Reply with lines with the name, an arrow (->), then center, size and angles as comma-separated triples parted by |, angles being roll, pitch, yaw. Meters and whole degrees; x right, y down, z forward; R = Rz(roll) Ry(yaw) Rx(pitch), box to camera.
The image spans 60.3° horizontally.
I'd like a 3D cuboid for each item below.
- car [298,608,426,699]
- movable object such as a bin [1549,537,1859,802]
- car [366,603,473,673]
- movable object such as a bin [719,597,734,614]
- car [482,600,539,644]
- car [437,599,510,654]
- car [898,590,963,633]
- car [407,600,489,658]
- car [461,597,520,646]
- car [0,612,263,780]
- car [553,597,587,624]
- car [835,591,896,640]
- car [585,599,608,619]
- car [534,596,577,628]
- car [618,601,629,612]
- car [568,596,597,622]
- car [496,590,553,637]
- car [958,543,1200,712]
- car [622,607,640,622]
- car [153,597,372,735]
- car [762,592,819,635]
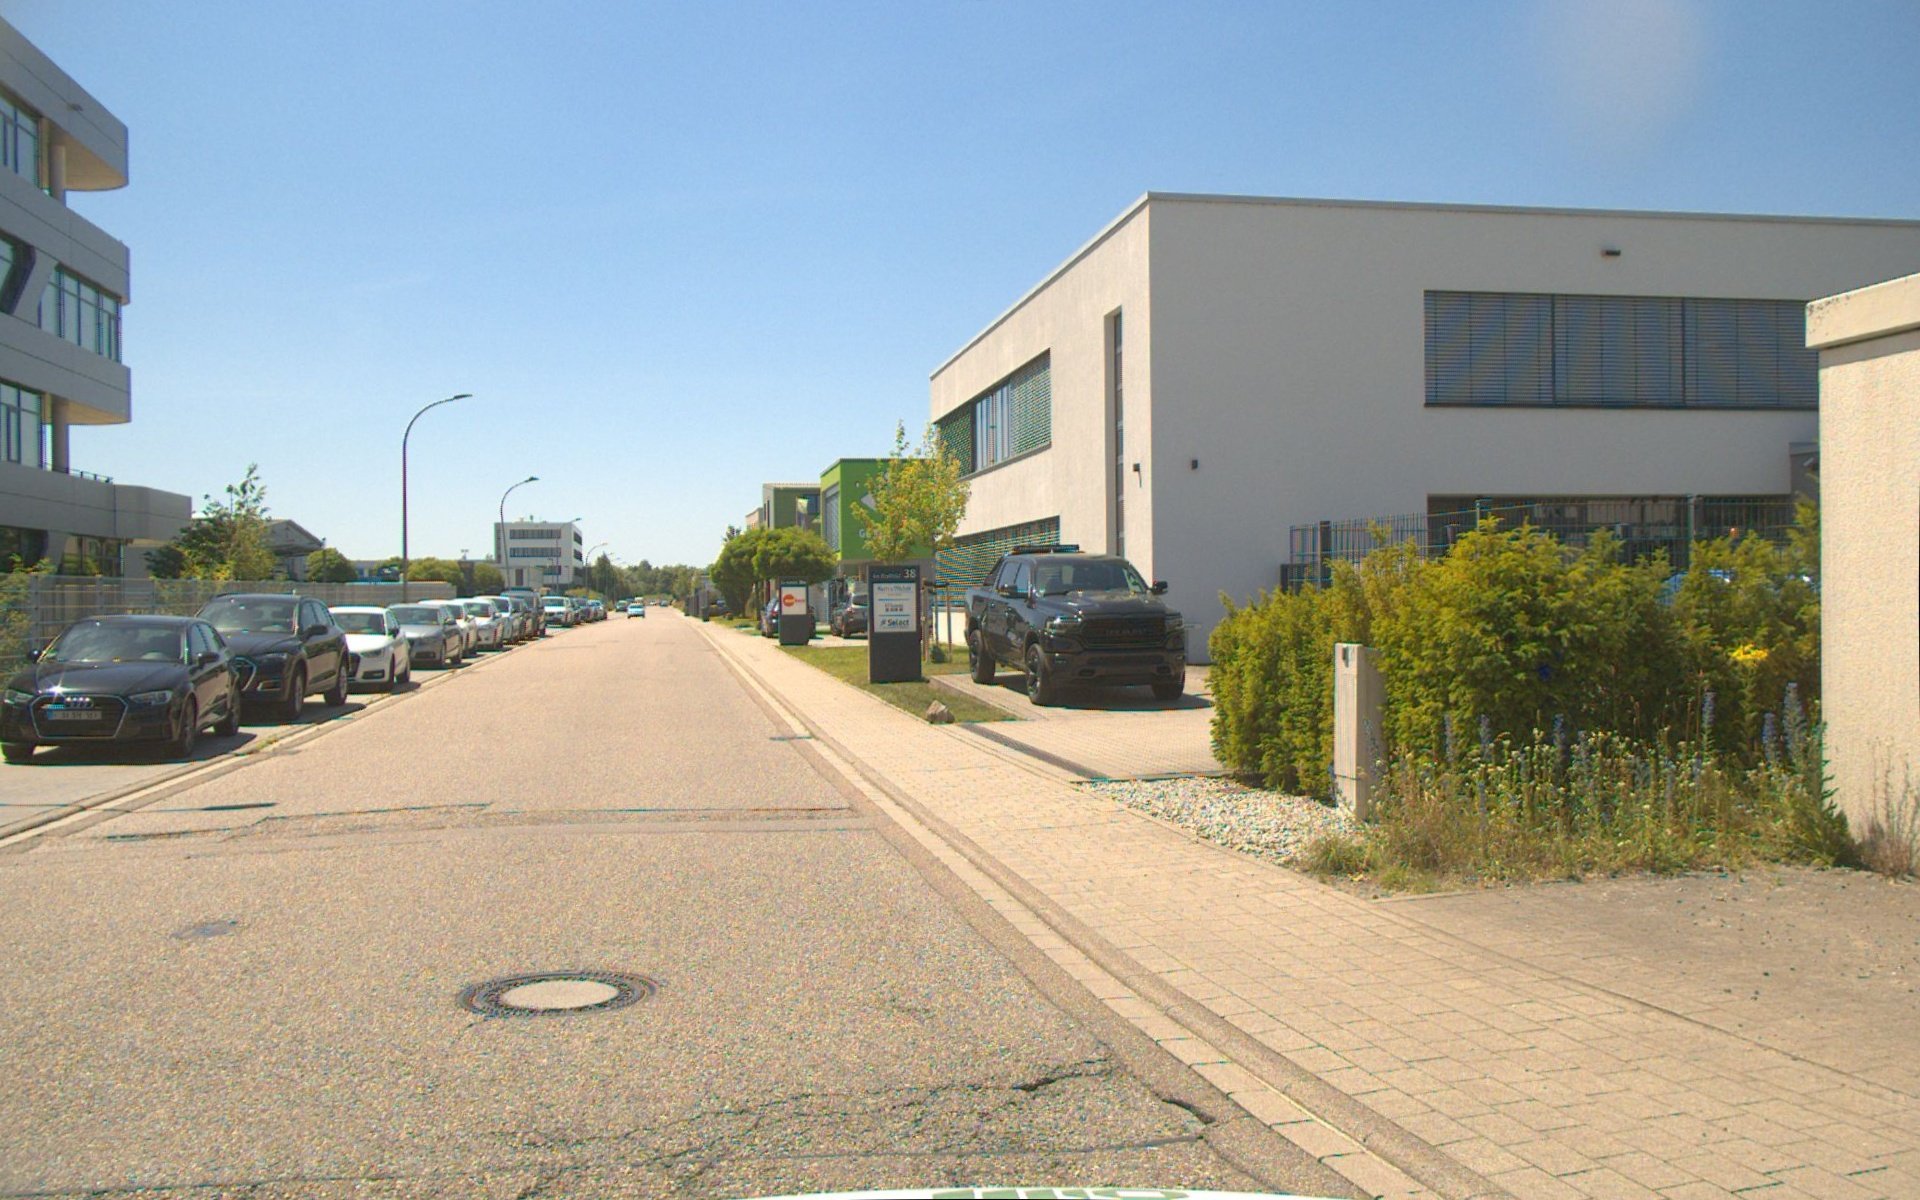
car -> -10.715, 0.905, 29.844 | 1.670, 1.410, 3.924 | -1, 1, -13
movable object such as a bin -> 4.748, 0.408, 10.642 | 1.359, 1.549, 1.167 | -2, 1, -12
car -> -12.475, 0.837, 38.418 | 1.653, 1.410, 4.628 | -1, 1, -10
movable object such as a bin -> -21.664, 0.494, 153.455 | 1.310, 1.485, 0.946 | -2, 0, -11
car -> -16.365, 0.788, 60.397 | 1.604, 1.526, 3.963 | 0, 0, -9
car -> -14.661, 0.758, 49.986 | 1.673, 1.563, 4.559 | 0, 0, -11
car -> -1.085, 0.382, 58.675 | 1.692, 1.475, 4.012 | -1, 0, -10
car -> -13.880, 0.736, 45.032 | 1.673, 1.469, 4.427 | 0, 0, -11
car -> -15.747, 0.700, 55.577 | 1.605, 1.563, 3.648 | 0, 0, -11
car -> -9.023, 0.948, 18.191 | 1.739, 1.492, 4.173 | -1, 1, -13
car -> -23.026, 0.604, 97.811 | 1.731, 1.544, 4.368 | 0, 0, -11
car -> -3.427, 0.520, 59.222 | 1.692, 1.661, 4.012 | -1, 0, -10
car -> -29.802, 0.736, 135.692 | 1.737, 1.620, 4.347 | 0, 0, -11
car -> -20.798, 0.581, 85.187 | 1.754, 1.569, 4.356 | -1, 0, -9
car -> -48.639, 0.934, 239.380 | 1.440, 1.516, 3.199 | -1, 0, -10
car -> -25.344, 0.601, 111.091 | 1.759, 1.635, 4.450 | -1, 0, -11
car -> -17.166, 0.503, 65.323 | 1.770, 1.749, 4.611 | 0, 0, -10
car -> 1.533, 0.243, 23.979 | 1.959, 2.048, 5.784 | -2, 3, -12
car -> -33.397, 1.484, 167.902 | 1.674, 1.436, 4.769 | 0, 0, -12
car -> -9.921, 0.851, 23.926 | 1.737, 1.680, 4.841 | -1, 1, -9
car -> -6.067, 0.460, 58.901 | 1.661, 1.453, 4.235 | -1, 0, -10
